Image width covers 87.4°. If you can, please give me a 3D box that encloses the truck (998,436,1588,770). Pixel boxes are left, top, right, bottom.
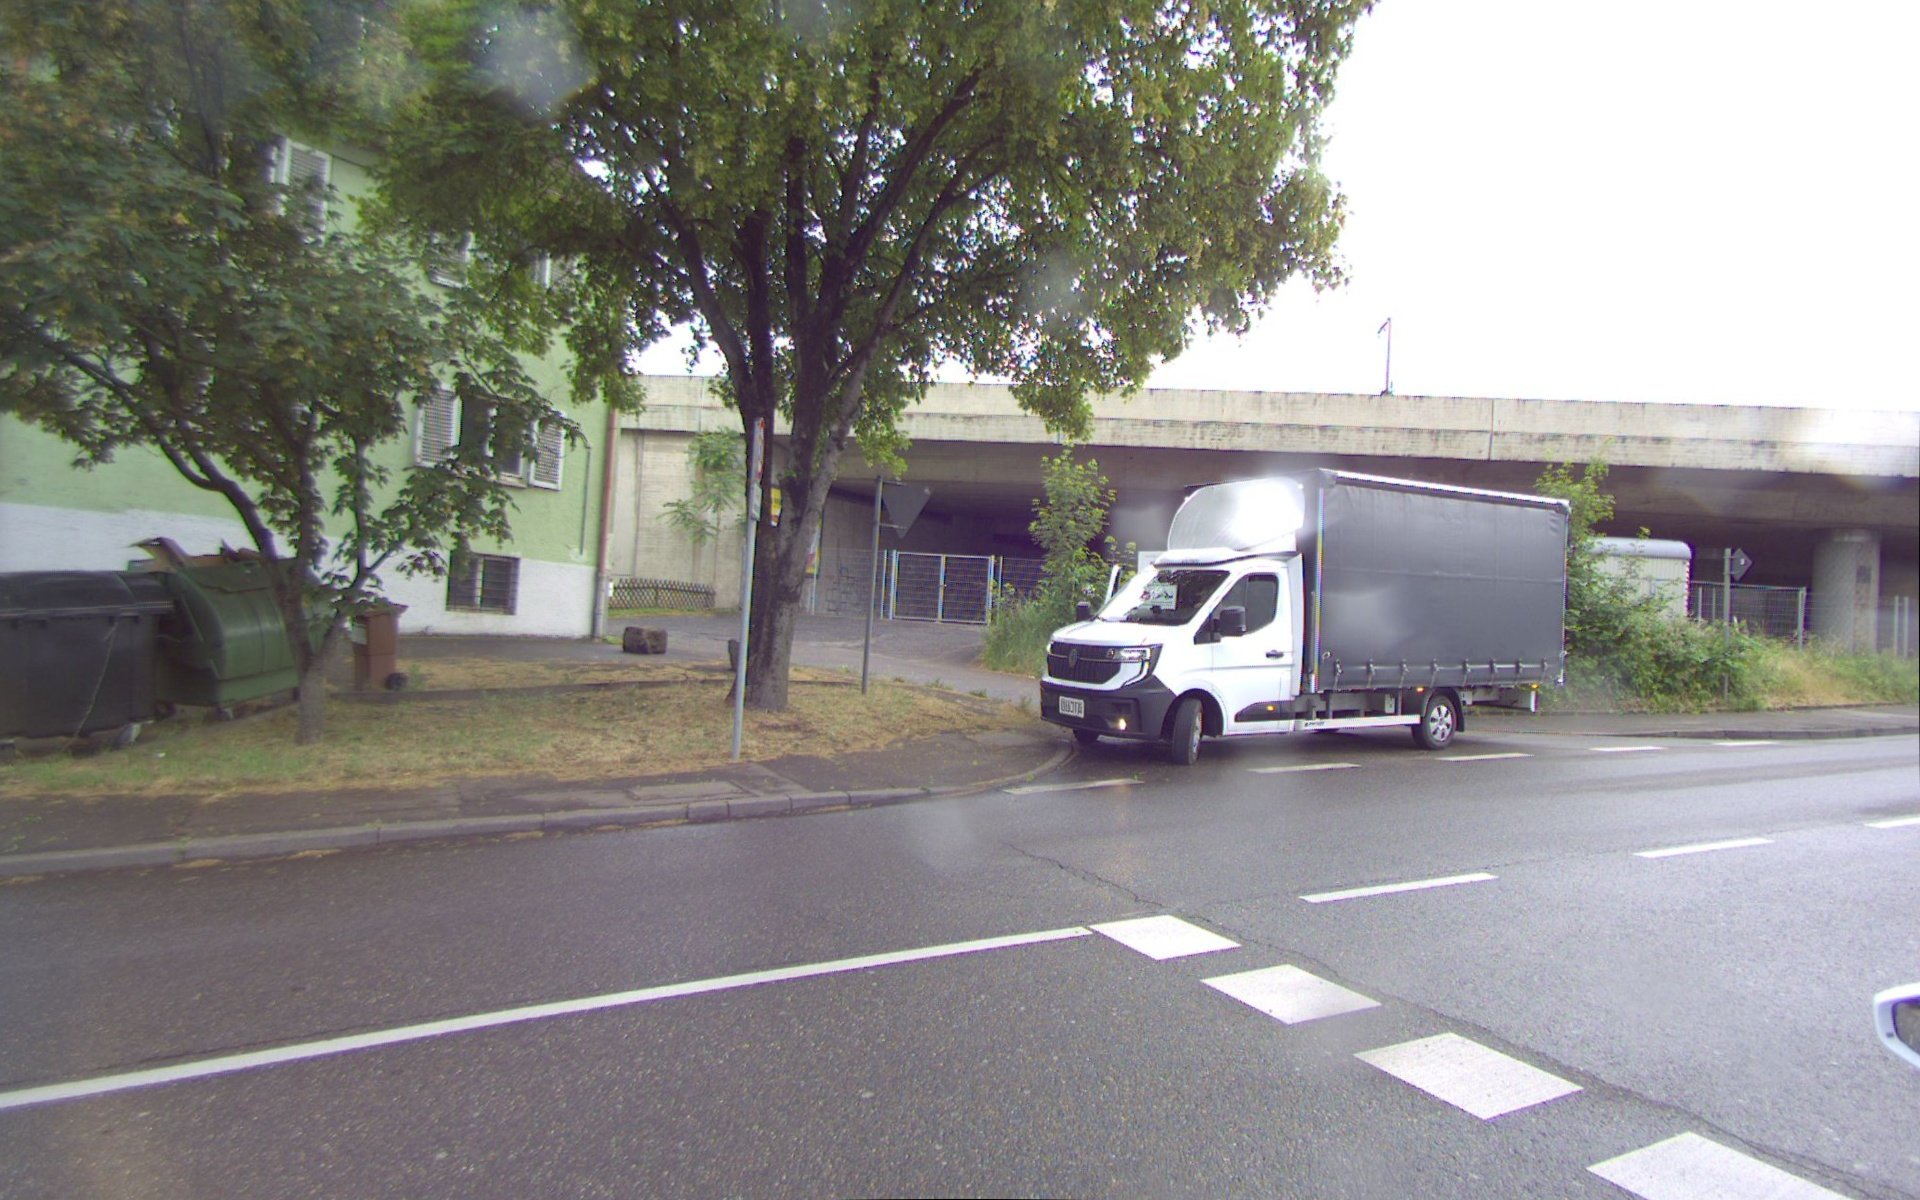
[{"bbox_3d":[4.473,0.180,12.862,7.681,3.279,2.599,3,-1,-29],"label":"truck"}]

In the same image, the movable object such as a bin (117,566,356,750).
[{"bbox_3d":[-6.718,0.473,9.428,1.078,1.457,1.463,5,5,13],"label":"movable object such as a bin"}]

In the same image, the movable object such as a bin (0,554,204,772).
[{"bbox_3d":[-7.286,0.420,8.064,1.268,1.457,1.463,5,5,13],"label":"movable object such as a bin"}]

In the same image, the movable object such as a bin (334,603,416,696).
[{"bbox_3d":[-6.342,0.534,10.910,0.715,0.970,0.554,3,-1,-30],"label":"movable object such as a bin"}]
